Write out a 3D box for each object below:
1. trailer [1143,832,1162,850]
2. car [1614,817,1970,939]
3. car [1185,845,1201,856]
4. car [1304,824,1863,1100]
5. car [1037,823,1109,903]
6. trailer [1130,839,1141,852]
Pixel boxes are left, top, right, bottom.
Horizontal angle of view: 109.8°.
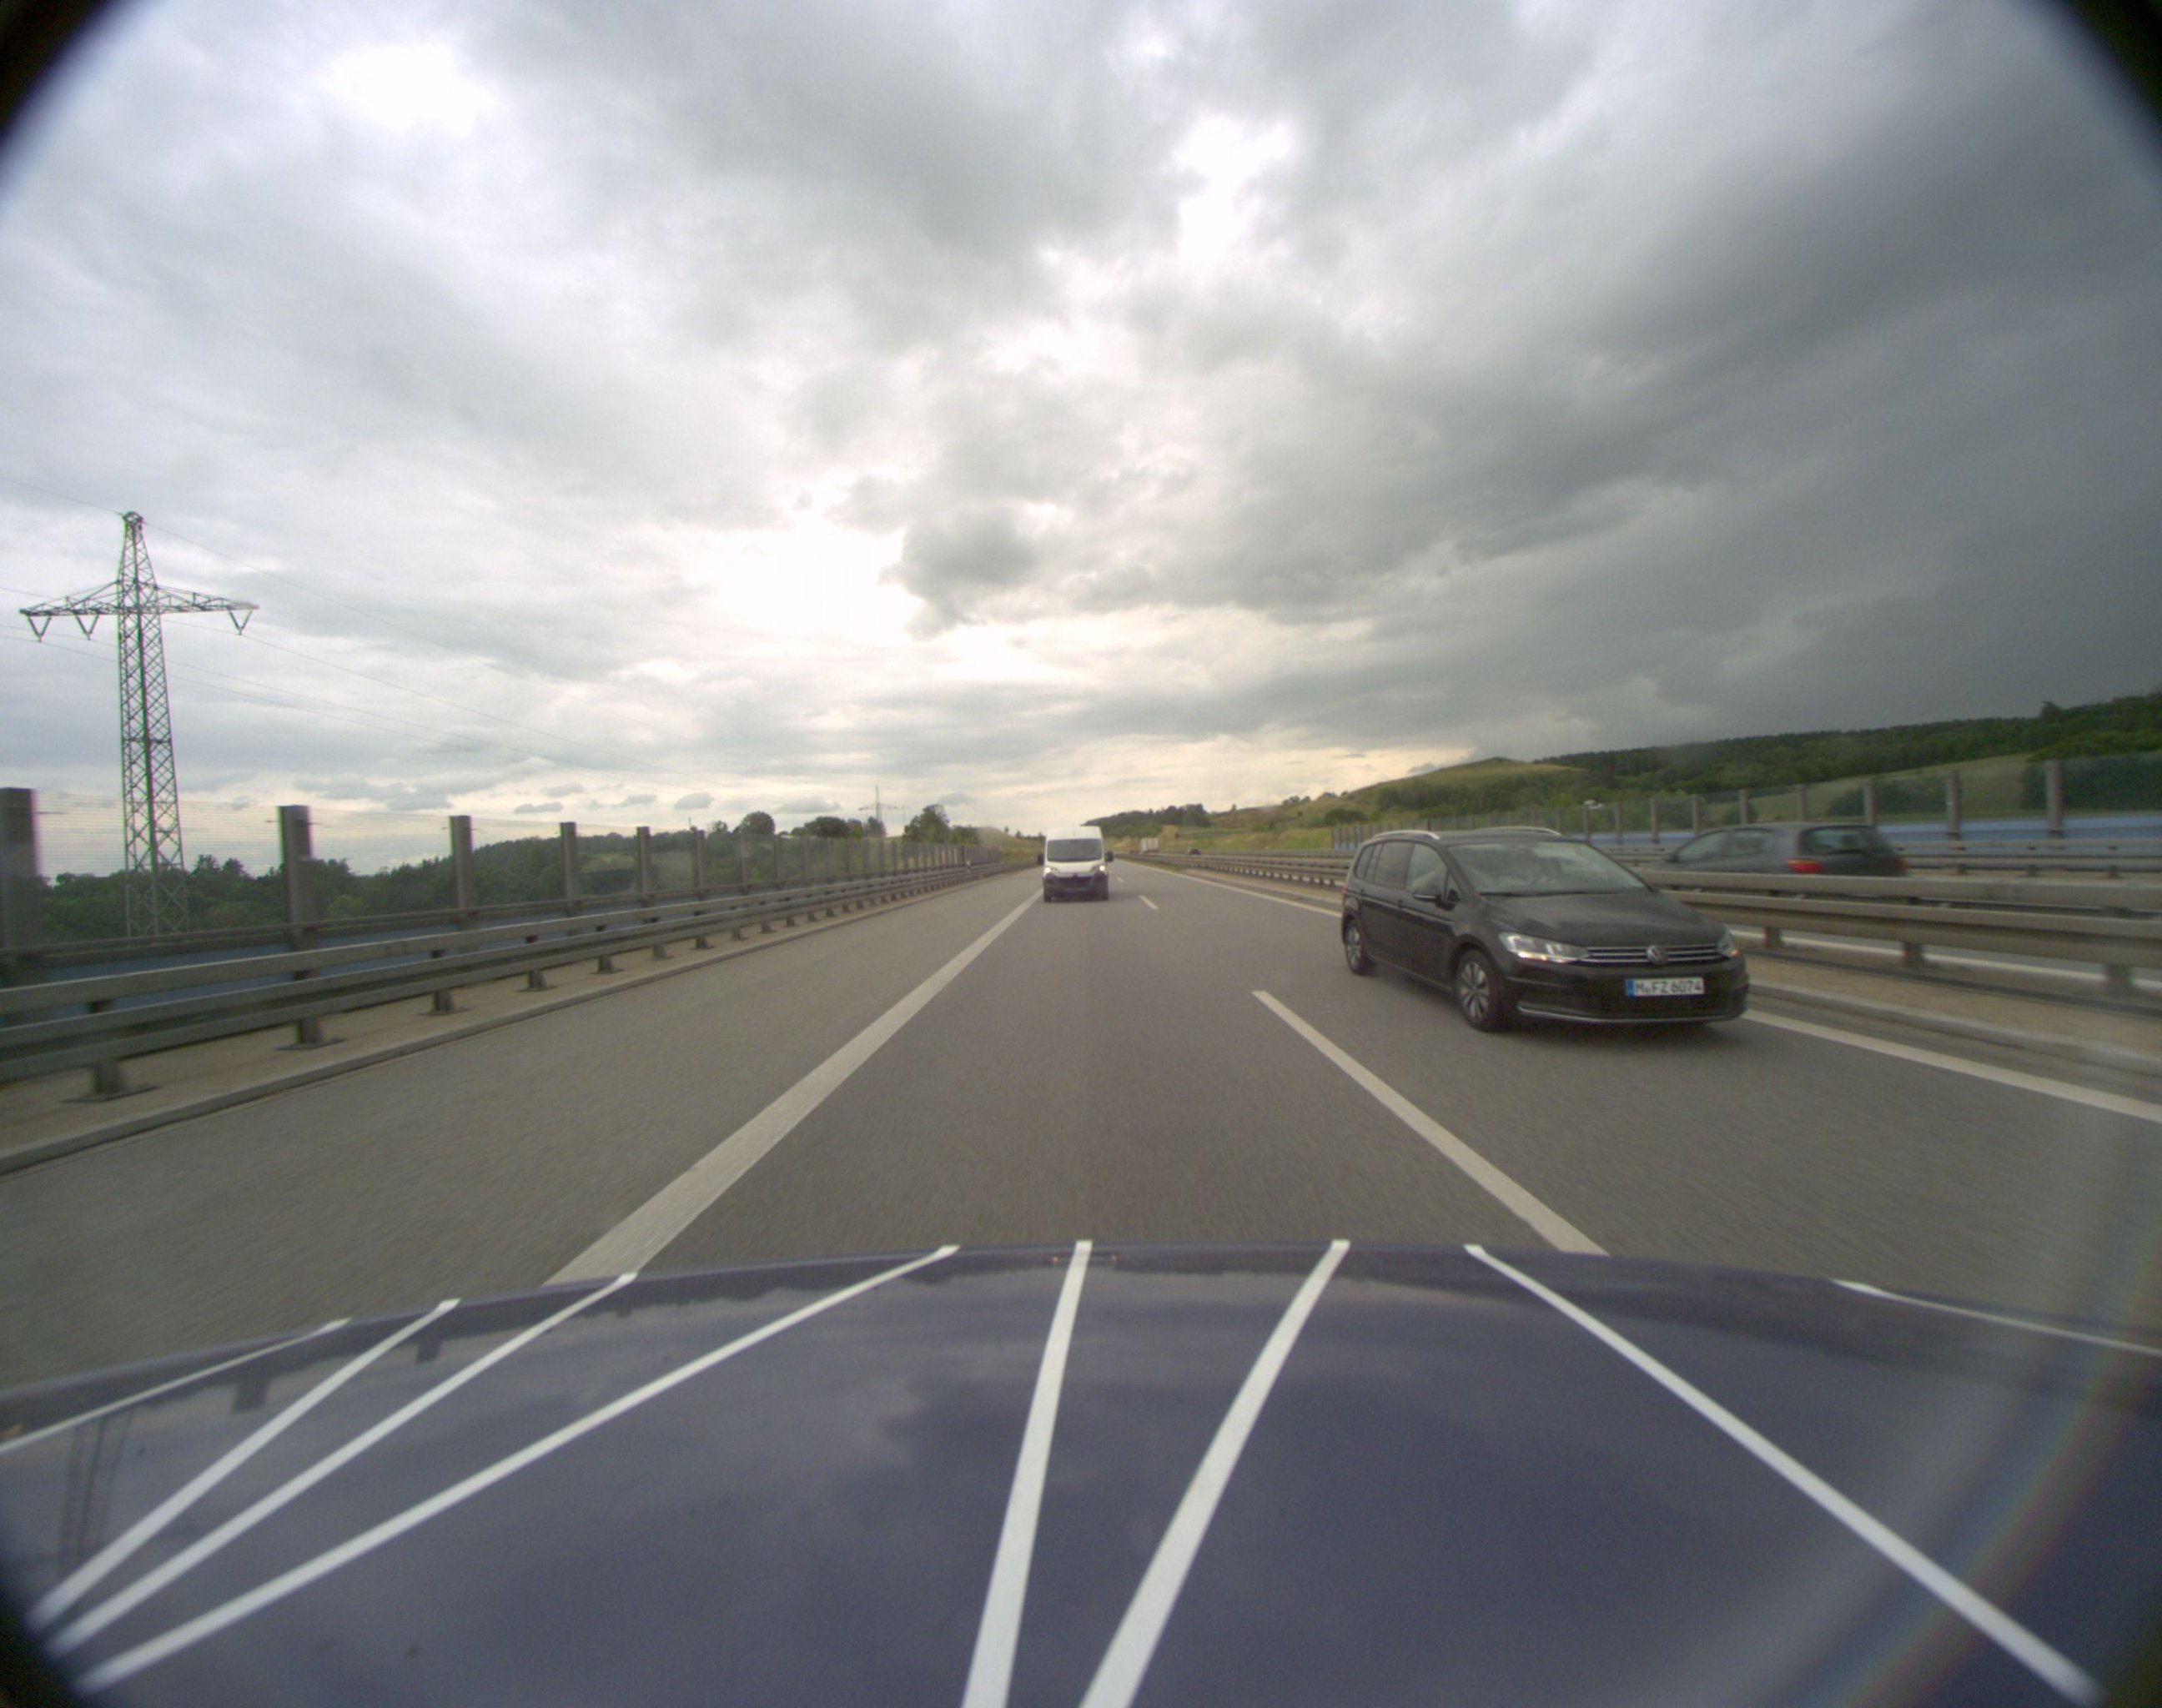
[{"bbox_3d":[15.837,-2.820,169.640,2.925,3.902,14.273,-3,0,1],"label":"trailer"},{"bbox_3d":[10.487,0.295,11.707,1.758,1.483,4.000,-3,1,1],"label":"car"},{"bbox_3d":[15.727,-0.480,106.663,1.635,1.401,4.000,-3,1,1],"label":"car"},{"bbox_3d":[3.962,0.658,7.482,1.901,1.661,5.396,-3,1,0],"label":"car"},{"bbox_3d":[-0.161,0.285,26.605,2.132,2.411,6.112,-2,0,2],"label":"car"},{"bbox_3d":[17.137,-2.660,238.737,2.596,3.903,13.701,-3,0,1],"label":"trailer"}]
